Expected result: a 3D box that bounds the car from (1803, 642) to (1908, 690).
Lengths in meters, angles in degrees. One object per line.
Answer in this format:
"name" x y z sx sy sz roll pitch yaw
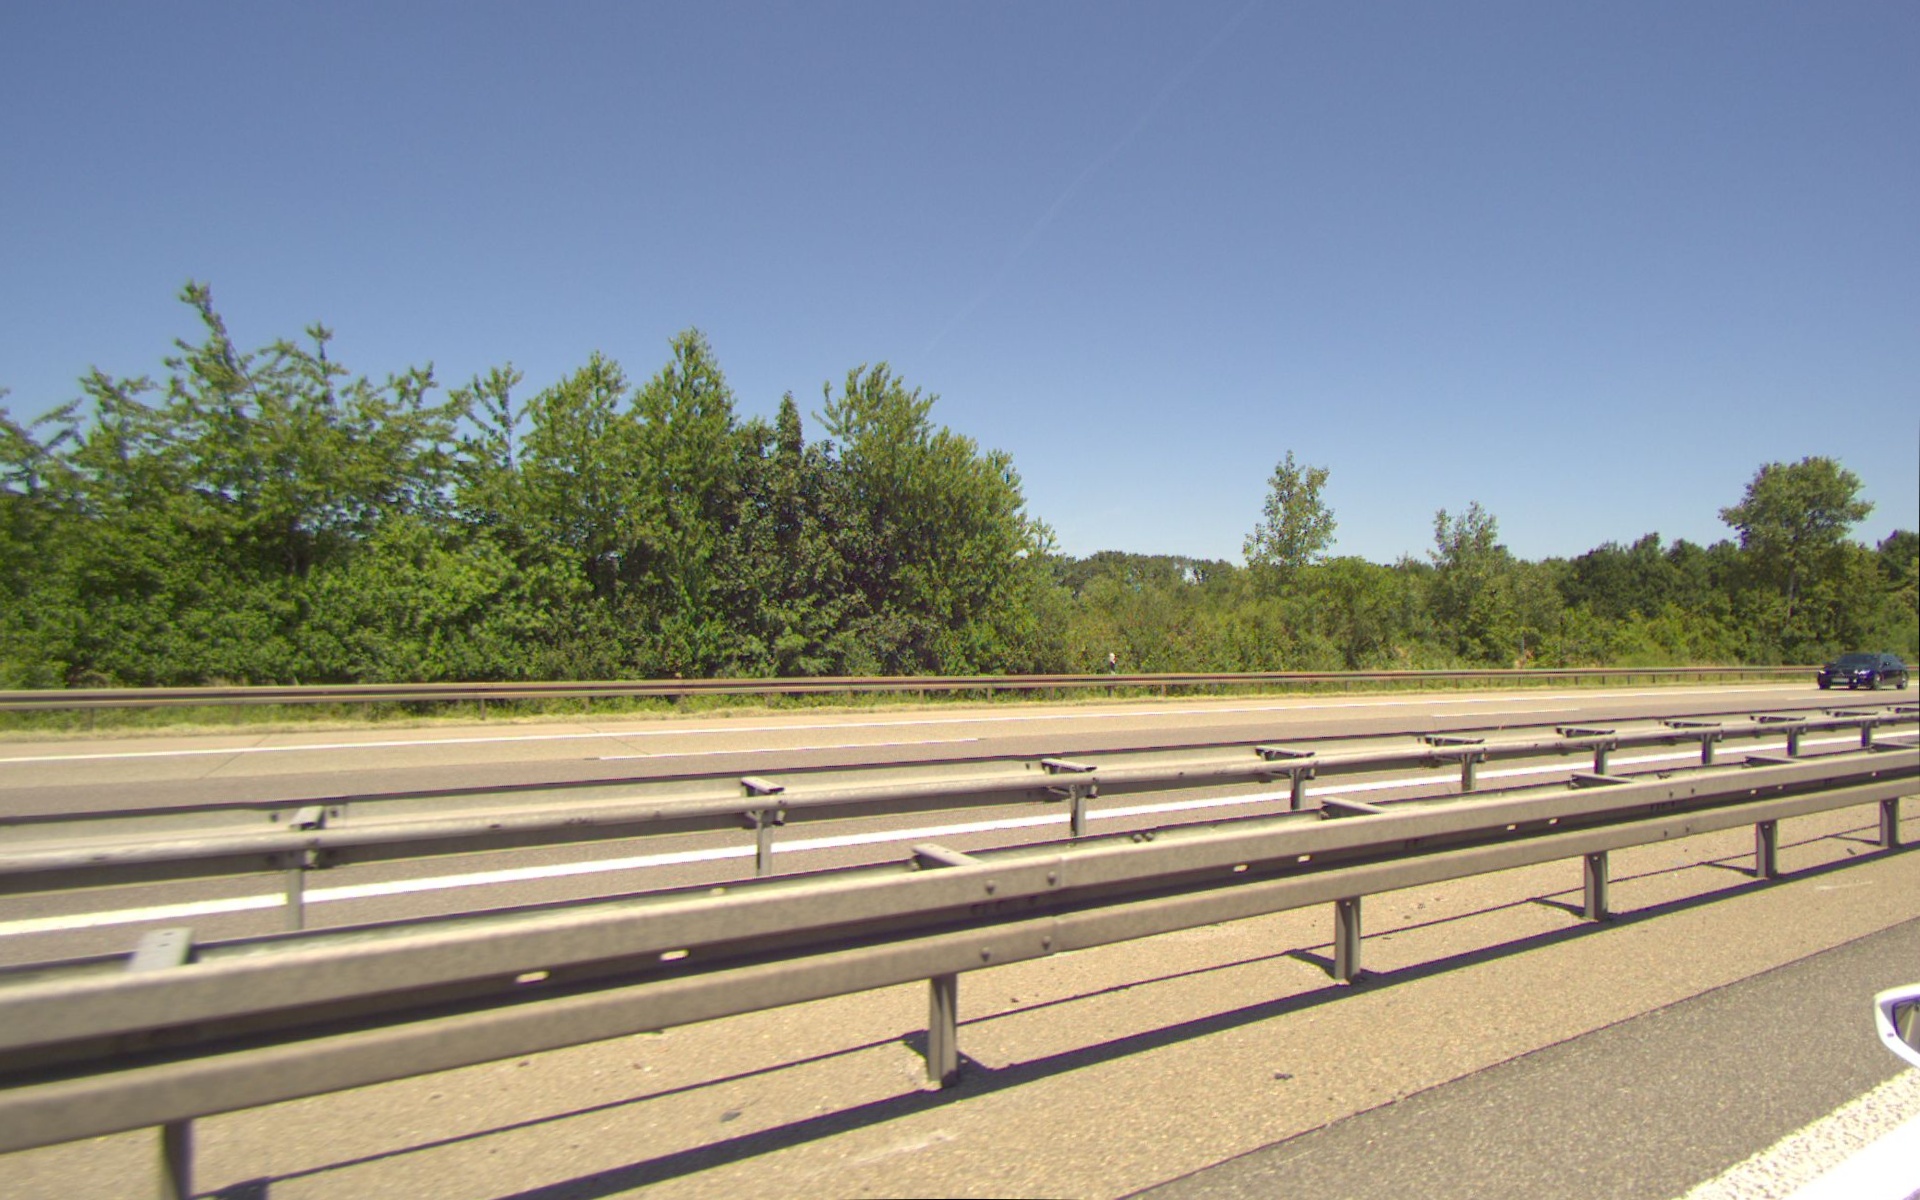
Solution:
"car" 35.392 2.567 39.680 4.237 1.739 1.915 2 -2 -30
